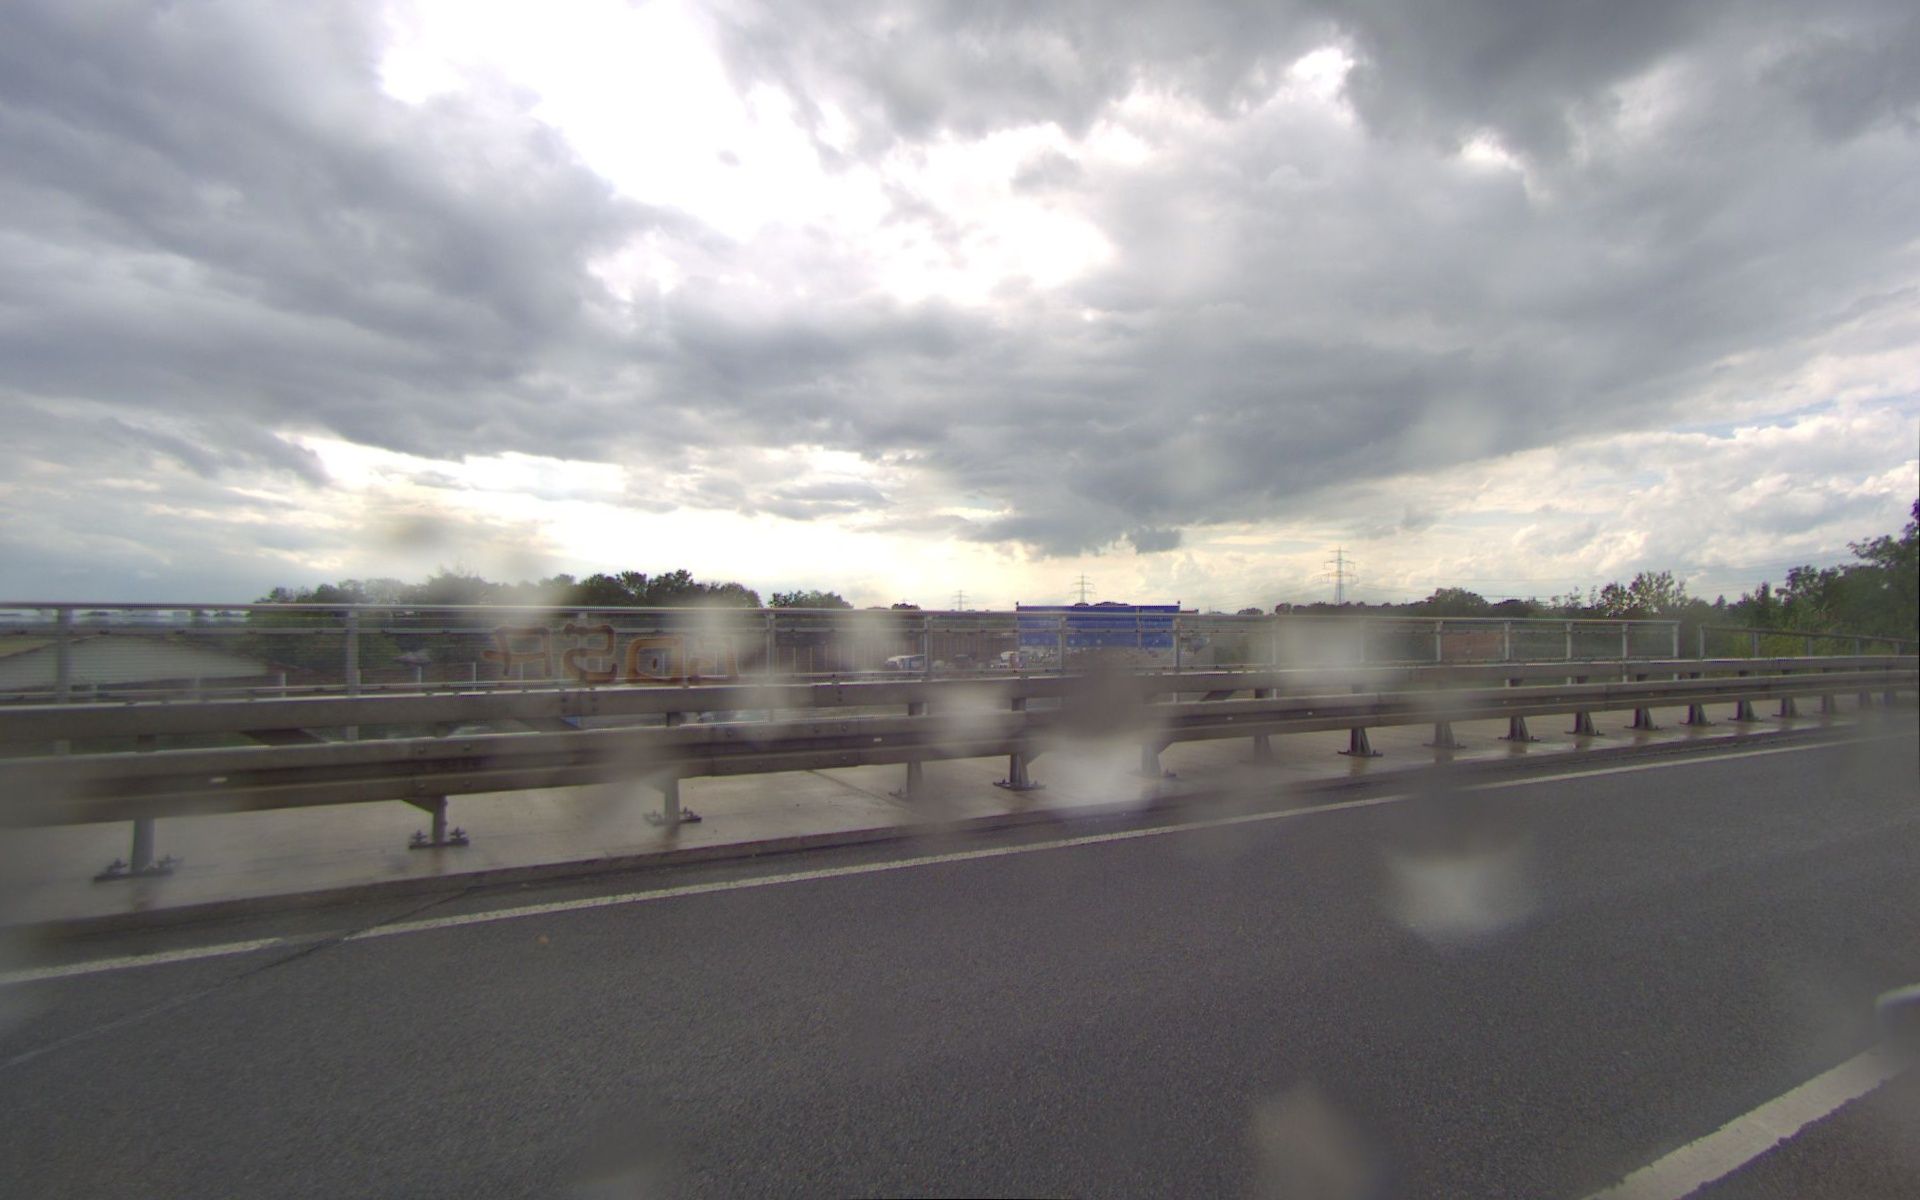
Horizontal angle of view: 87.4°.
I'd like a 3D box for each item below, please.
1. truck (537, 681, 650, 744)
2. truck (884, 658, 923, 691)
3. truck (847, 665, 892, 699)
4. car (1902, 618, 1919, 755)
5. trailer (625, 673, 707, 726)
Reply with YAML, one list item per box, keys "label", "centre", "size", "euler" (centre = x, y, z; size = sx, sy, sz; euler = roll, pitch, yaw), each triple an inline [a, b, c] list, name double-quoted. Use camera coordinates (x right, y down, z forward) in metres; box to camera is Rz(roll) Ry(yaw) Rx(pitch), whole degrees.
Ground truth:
- label: "truck"
  centre: [-29.306, 8.921, 81.097]
  size: [2.388, 3.812, 11.173]
  euler: [1, 0, 16]
- label: "truck"
  centre: [-8.631, 11.404, 155.665]
  size: [2.388, 4.250, 11.173]
  euler: [1, 0, 16]
- label: "truck"
  centre: [-12.575, 11.419, 141.025]
  size: [2.388, 3.812, 11.173]
  euler: [1, 0, 16]
- label: "car"
  centre: [12.381, 0.955, 11.149]
  size: [4.273, 1.451, 1.688]
  euler: [1, 0, -31]
- label: "trailer"
  centre: [-26.441, 8.917, 91.017]
  size: [2.388, 3.812, 9.461]
  euler: [1, 0, 16]
